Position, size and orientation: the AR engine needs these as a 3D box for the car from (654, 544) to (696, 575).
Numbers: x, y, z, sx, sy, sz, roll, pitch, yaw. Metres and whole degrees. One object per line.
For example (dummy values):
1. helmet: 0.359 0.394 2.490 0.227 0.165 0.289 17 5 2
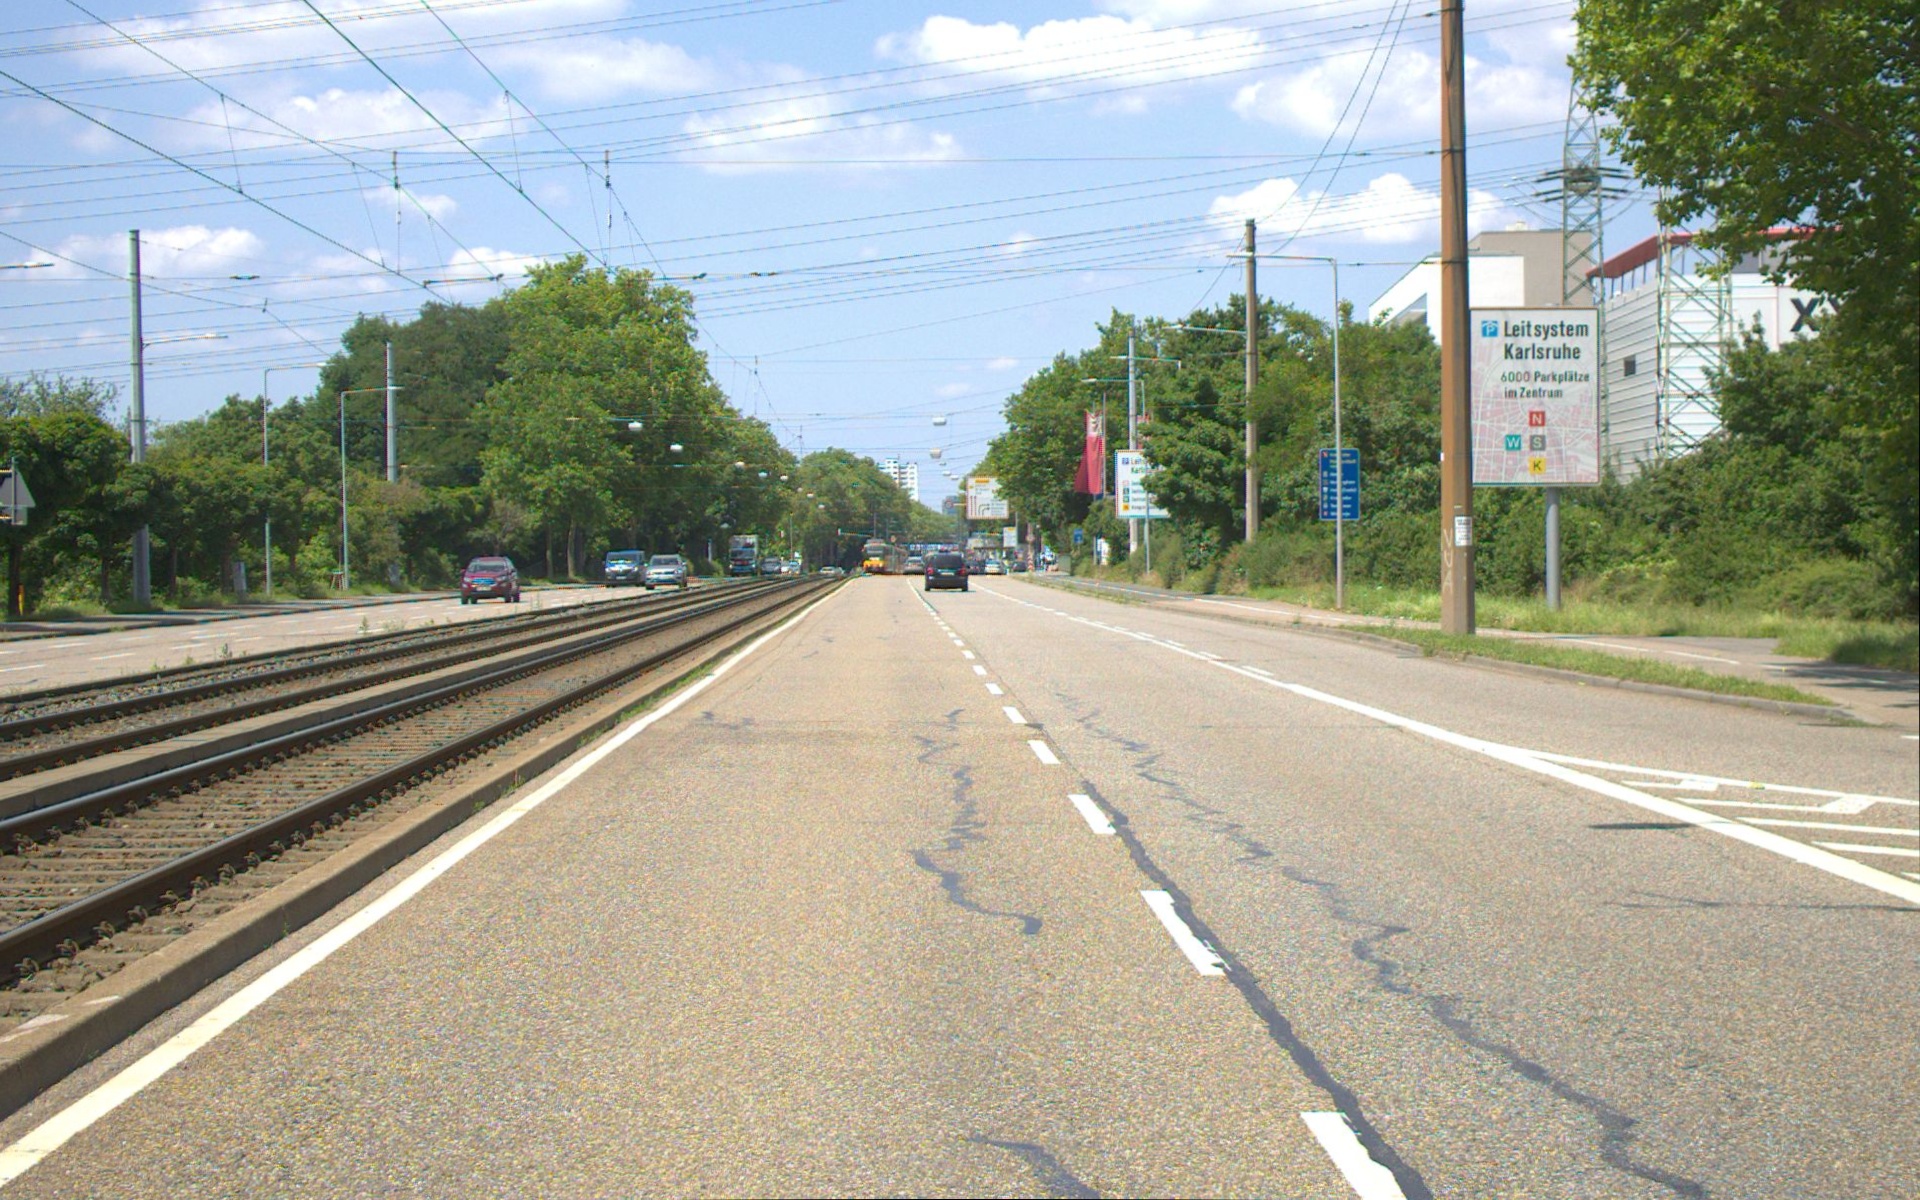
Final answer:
1. car: -13.494 -1.912 163.106 1.716 1.423 3.901 -1 1 -1

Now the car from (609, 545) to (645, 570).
1. car: -17.998 -2.307 185.843 1.601 1.268 3.836 -1 1 -1

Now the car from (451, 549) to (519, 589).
1. car: -16.959 -1.121 122.868 1.875 1.327 3.918 -2 1 -1

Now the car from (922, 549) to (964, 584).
1. car: -0.698 -1.385 141.935 1.586 1.338 3.273 -1 2 -2
